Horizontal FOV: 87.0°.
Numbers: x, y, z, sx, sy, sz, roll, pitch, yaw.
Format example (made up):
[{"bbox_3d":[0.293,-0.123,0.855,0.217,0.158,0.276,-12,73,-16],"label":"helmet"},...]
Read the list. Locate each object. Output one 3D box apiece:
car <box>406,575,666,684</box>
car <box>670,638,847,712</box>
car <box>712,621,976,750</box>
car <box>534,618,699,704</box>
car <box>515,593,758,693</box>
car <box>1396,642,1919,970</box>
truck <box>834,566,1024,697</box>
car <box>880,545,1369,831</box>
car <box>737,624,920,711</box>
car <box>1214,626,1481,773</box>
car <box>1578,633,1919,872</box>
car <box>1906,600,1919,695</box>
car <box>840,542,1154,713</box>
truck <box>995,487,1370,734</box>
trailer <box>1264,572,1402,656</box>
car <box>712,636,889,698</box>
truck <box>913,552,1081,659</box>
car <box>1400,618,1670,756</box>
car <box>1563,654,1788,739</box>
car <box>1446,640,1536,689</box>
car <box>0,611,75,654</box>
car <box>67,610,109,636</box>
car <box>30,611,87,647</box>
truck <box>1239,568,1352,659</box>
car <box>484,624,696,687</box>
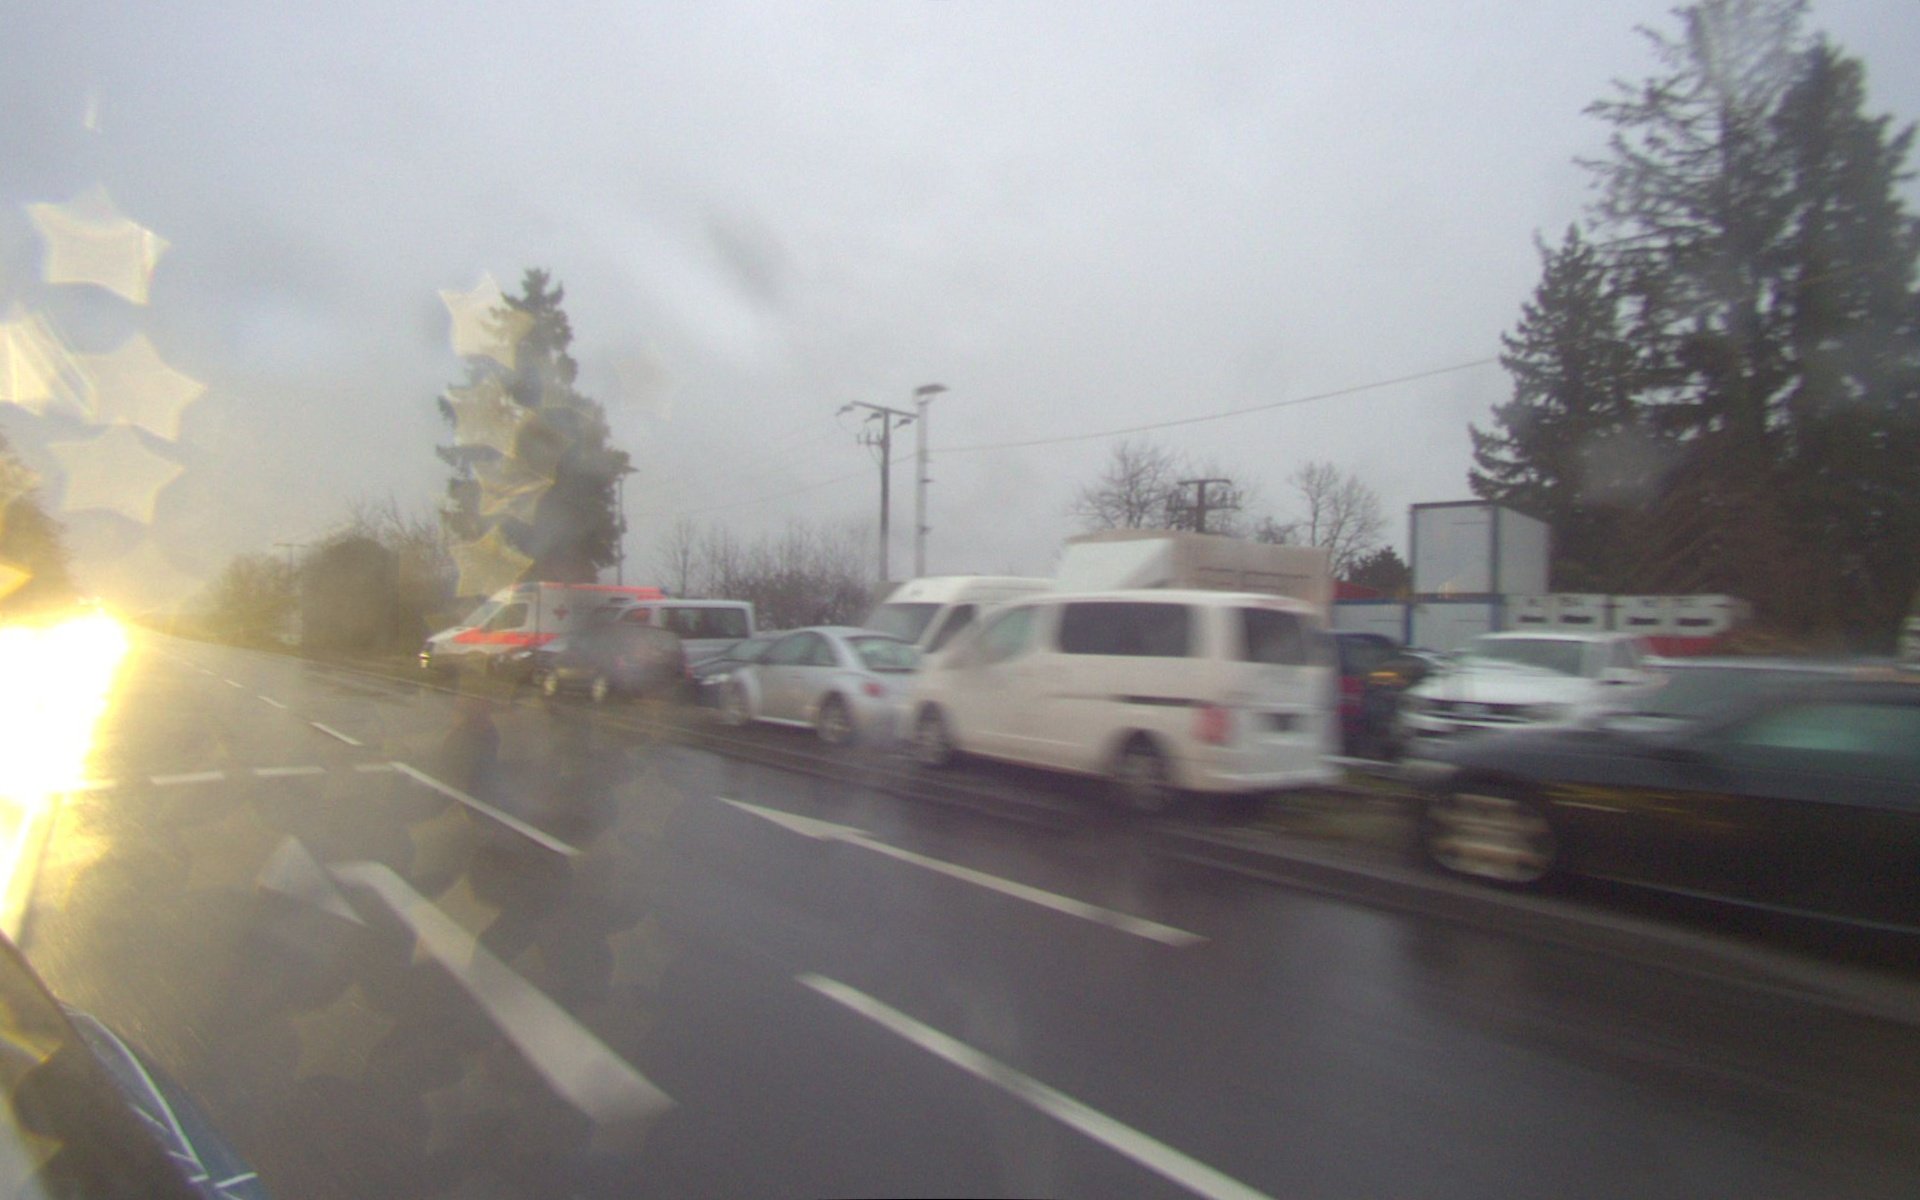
[{"bbox_3d":[-11.402,0.894,27.595,6.079,2.652,2.179,4,-4,-41],"label":"car"},{"bbox_3d":[-4.056,1.472,20.674,1.481,1.338,3.265,-1,-2,45],"label":"car"},{"bbox_3d":[-1.642,1.004,13.218,1.629,1.423,3.847,2,-3,-39],"label":"car"},{"bbox_3d":[-6.438,1.116,18.751,1.630,1.431,3.748,3,-4,-40],"label":"car"},{"bbox_3d":[-7.659,1.088,24.316,5.082,2.167,2.061,4,-4,-41],"label":"car"},{"bbox_3d":[4.708,1.010,5.177,1.551,1.331,4.262,4,-2,-42],"label":"car"},{"bbox_3d":[-1.034,0.951,29.696,2.007,3.481,5.856,5,-5,-44],"label":"truck"},{"bbox_3d":[1.267,0.667,9.517,1.811,2.029,4.492,2,-2,-39],"label":"car"},{"bbox_3d":[-2.447,1.241,19.245,3.190,1.503,1.500,3,-3,-44],"label":"car"},{"bbox_3d":[5.543,1.251,14.259,4.002,1.746,2.026,2,-2,-44],"label":"car"},{"bbox_3d":[6.843,1.134,8.434,3.861,1.488,1.813,6,-4,-41],"label":"car"},{"bbox_3d":[25.261,1.127,23.099,1.971,2.279,5.291,2,-2,-45],"label":"car"},{"bbox_3d":[0.878,0.536,18.613,5.959,2.659,2.198,3,-3,-43],"label":"car"},{"bbox_3d":[3.799,0.232,16.098,6.775,3.166,2.337,2,-2,-42],"label":"truck"},{"bbox_3d":[13.929,0.515,37.122,2.215,2.694,10.382,-1,-1,35],"label":"trailer"},{"bbox_3d":[-3.817,1.612,24.663,1.843,1.394,3.941,-3,-4,45],"label":"car"},{"bbox_3d":[1.848,0.212,45.133,3.003,4.293,8.602,0,0,38],"label":"truck"},{"bbox_3d":[7.081,0.932,12.285,4.002,1.388,1.816,2,-2,-44],"label":"car"},{"bbox_3d":[12.730,1.668,18.087,3.166,1.342,1.392,-2,-4,41],"label":"car"},{"bbox_3d":[14.297,1.707,27.203,2.767,1.209,1.345,2,-2,-44],"label":"car"},{"bbox_3d":[-34.107,1.174,37.277,1.987,1.504,4.002,2,-2,-45],"label":"car"},{"bbox_3d":[-55.144,1.444,63.971,1.862,1.640,4.004,1,-1,-43],"label":"car"},{"bbox_3d":[-42.663,1.334,47.958,1.861,1.640,4.006,1,-1,-40],"label":"car"},{"bbox_3d":[10.937,0.450,32.805,2.229,2.717,4.668,-1,-1,35],"label":"truck"},{"bbox_3d":[-9.447,1.447,26.085,4.690,1.494,1.958,4,-4,-41],"label":"car"}]
